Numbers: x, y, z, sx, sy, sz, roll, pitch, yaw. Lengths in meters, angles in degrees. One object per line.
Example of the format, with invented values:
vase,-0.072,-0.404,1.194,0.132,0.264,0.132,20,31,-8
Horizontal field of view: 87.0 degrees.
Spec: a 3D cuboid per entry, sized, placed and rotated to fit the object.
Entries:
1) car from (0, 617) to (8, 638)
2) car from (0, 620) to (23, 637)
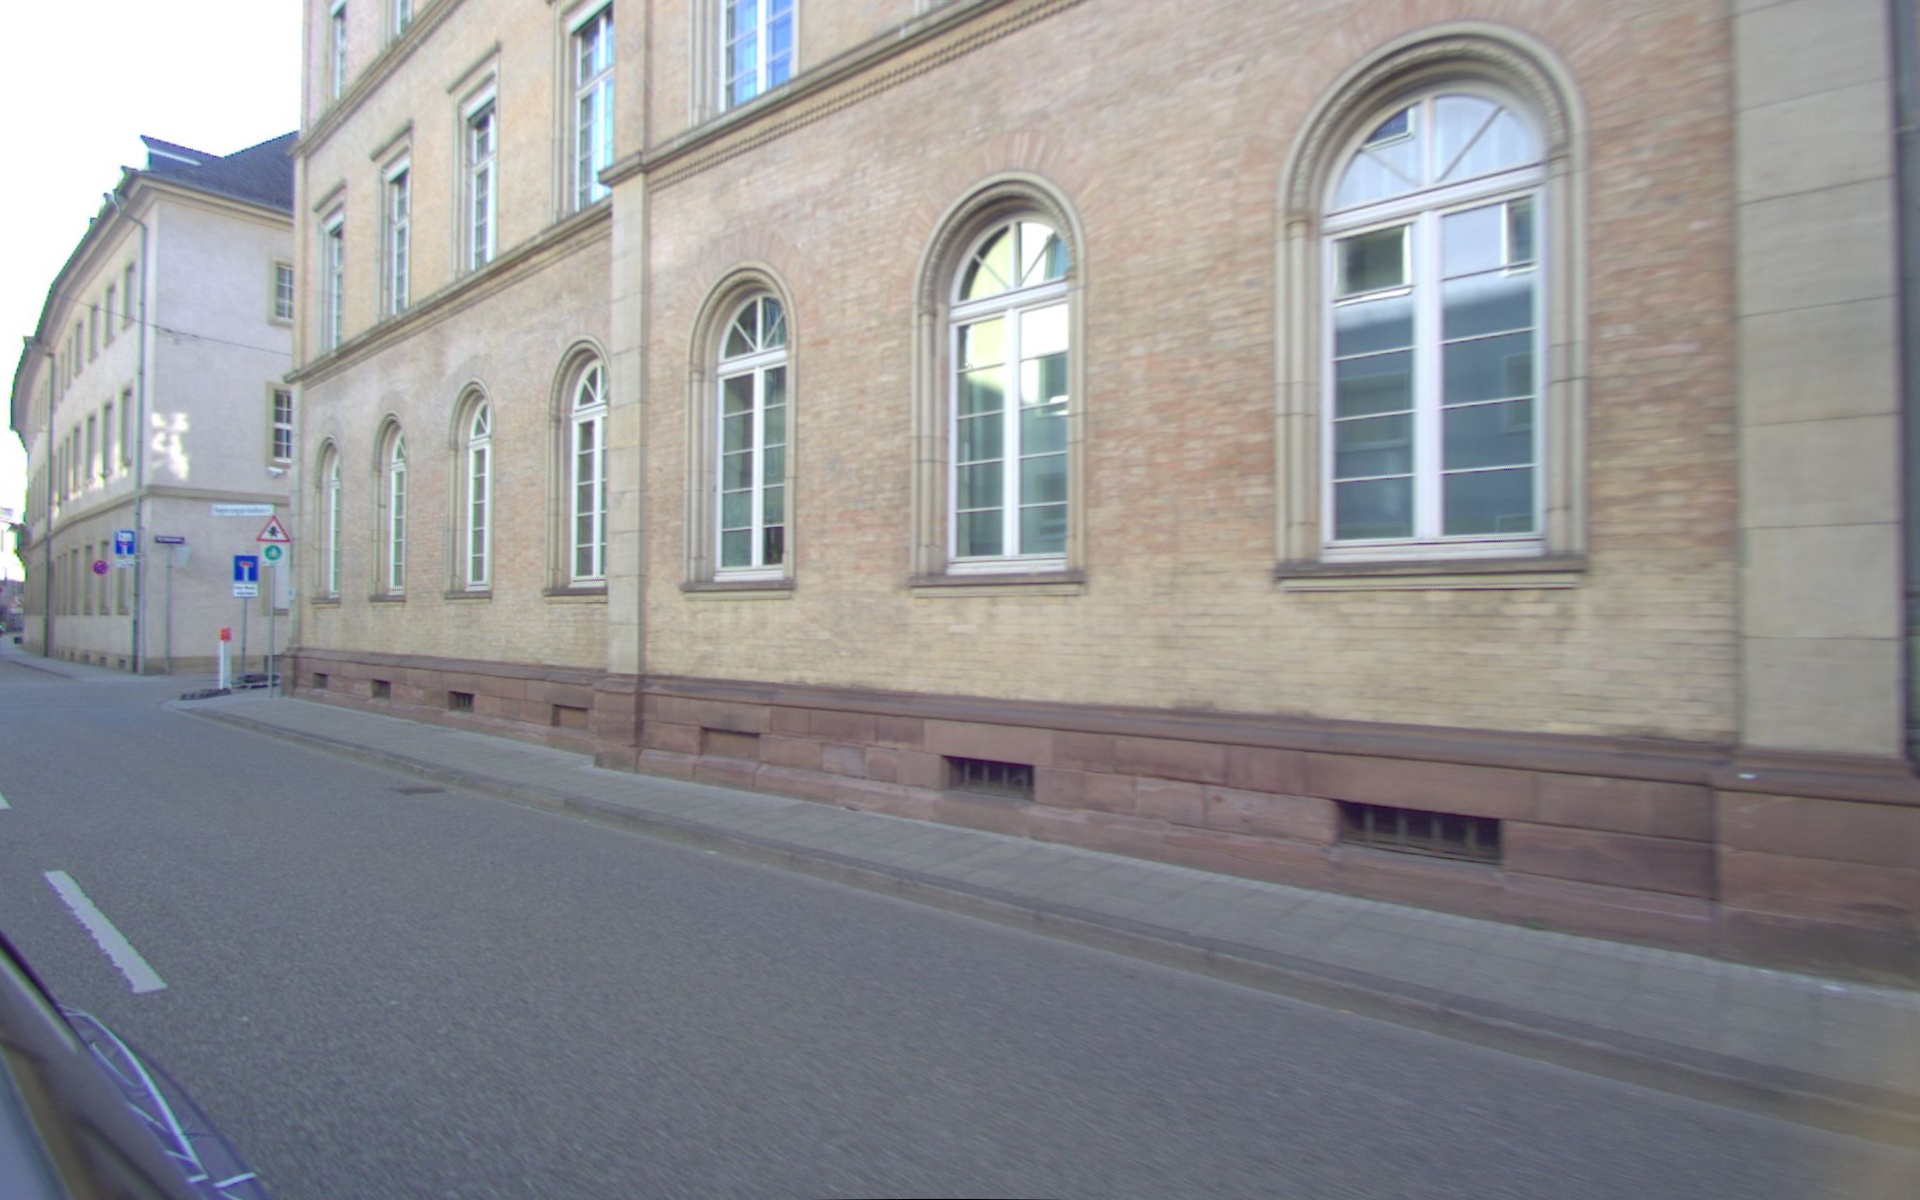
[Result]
car,-86.984,2.540,90.295,1.916,1.875,5.209,-4,1,-32
car,-98.272,2.968,104.200,1.747,1.595,3.868,-4,1,-31
